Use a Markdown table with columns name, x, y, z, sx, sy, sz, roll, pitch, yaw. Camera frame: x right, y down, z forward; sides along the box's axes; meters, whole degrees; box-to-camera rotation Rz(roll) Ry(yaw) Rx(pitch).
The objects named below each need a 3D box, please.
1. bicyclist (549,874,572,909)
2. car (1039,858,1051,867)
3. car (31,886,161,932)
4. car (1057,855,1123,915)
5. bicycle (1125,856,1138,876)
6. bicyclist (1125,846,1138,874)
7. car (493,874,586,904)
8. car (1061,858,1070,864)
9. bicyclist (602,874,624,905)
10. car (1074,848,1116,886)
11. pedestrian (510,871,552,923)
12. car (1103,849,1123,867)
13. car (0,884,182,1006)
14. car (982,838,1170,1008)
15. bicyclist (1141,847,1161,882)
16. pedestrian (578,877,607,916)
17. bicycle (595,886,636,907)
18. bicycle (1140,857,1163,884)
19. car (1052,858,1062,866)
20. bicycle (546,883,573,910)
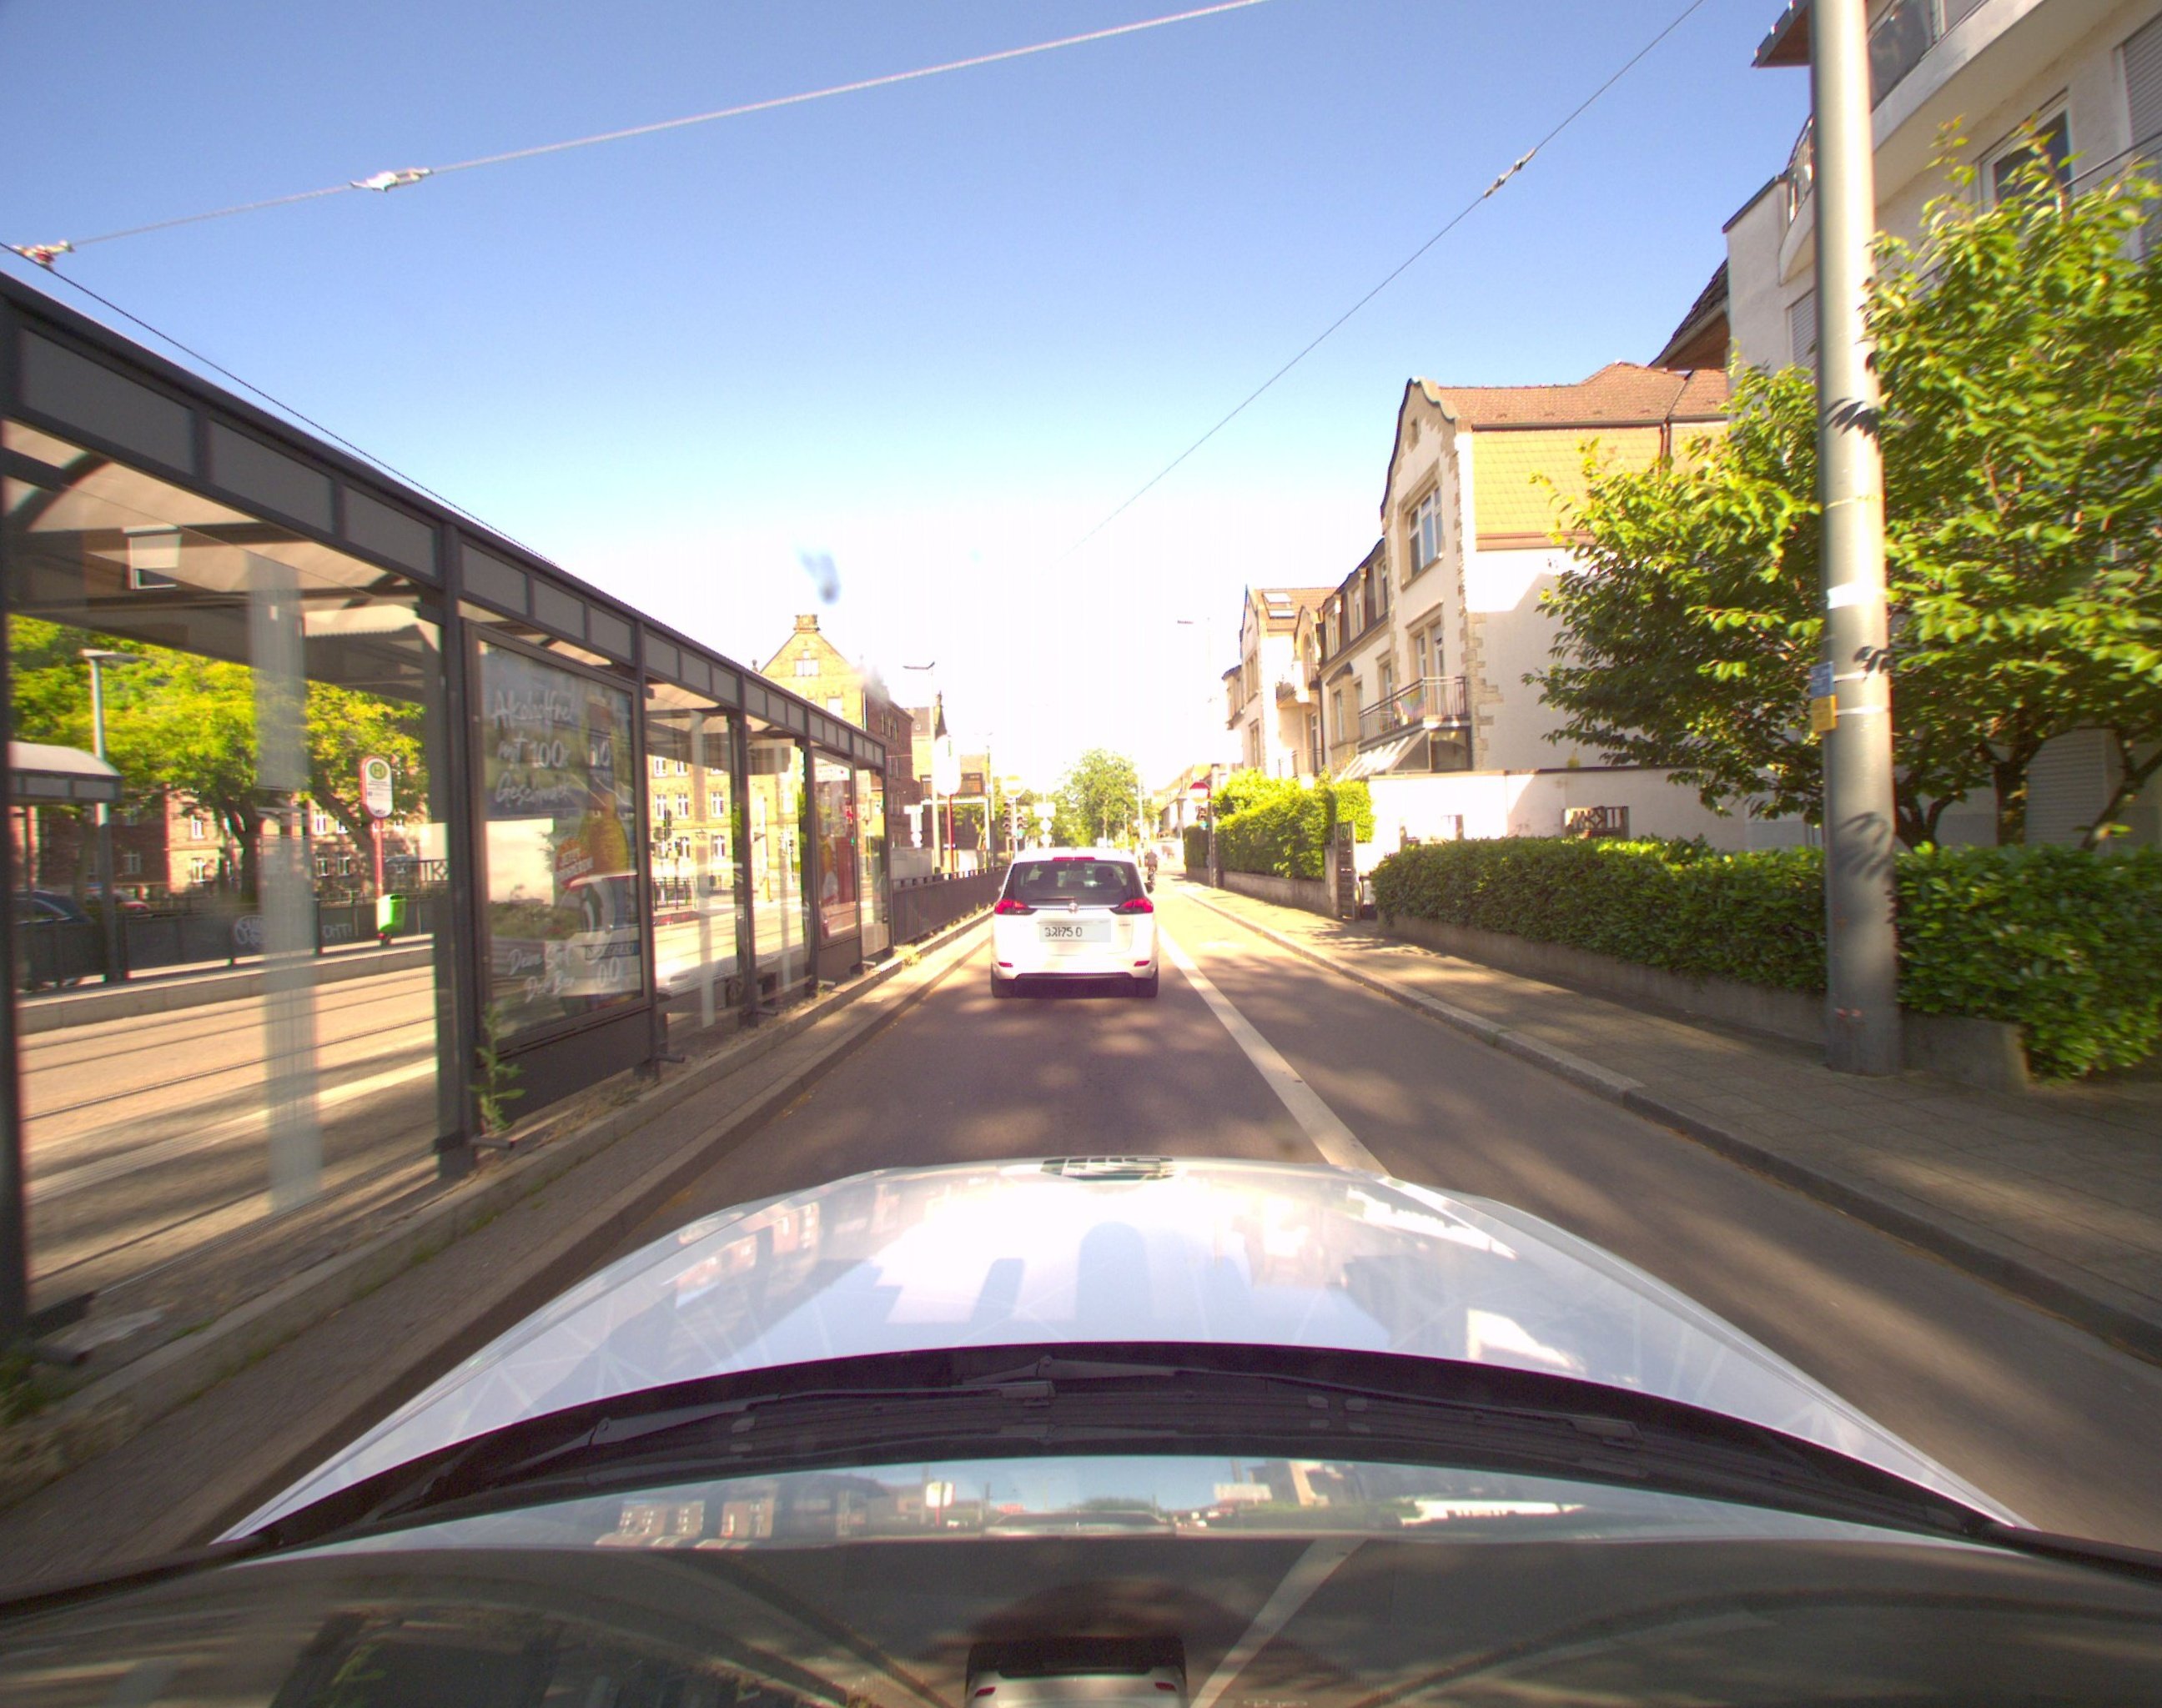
| name | x | y | z | sx | sy | sz | roll | pitch | yaw |
| --- | --- | --- | --- | --- | --- | --- | --- | --- | --- |
| bicyclist | -21.219 | 1.508 | 33.182 | 0.692 | 1.383 | 0.530 | -1 | -1 | -25 |
| car | -5.779 | 1.320 | 131.106 | 1.574 | 1.441 | 3.587 | -2 | 0 | 3 |
| car | -59.482 | 3.296 | 49.269 | 5.013 | 2.453 | 2.260 | -2 | -1 | 0 |
| car | 0.324 | 0.790 | 22.520 | 1.580 | 1.420 | 3.903 | -3 | 0 | 3 |
| bicycle | 3.012 | 0.715 | 48.414 | 0.682 | 1.157 | 1.621 | -2 | 0 | 4 |
| bicyclist | 3.002 | 0.332 | 48.484 | 0.682 | 1.634 | 1.016 | -2 | -1 | 3 |
| car | -30.953 | 1.970 | 46.628 | 4.047 | 1.522 | 1.879 | -2 | 0 | 3 |
| car | -3.504 | 1.573 | 181.660 | 1.574 | 1.441 | 3.587 | -2 | 0 | 3 |
| bicyclist | -25.119 | 1.905 | 43.704 | 0.632 | 1.636 | 0.801 | -2 | -1 | 1 |
| car | 0.646 | 0.582 | 37.429 | 1.769 | 1.632 | 3.881 | -2 | 0 | 1 |
| pedestrian | -20.408 | 1.579 | 30.228 | 0.723 | 1.861 | 1.097 | -2 | -1 | 3 |
| car | 3.180 | 0.420 | 79.747 | 1.768 | 1.632 | 3.884 | -2 | 0 | 4 |
| car | -16.629 | 1.393 | 11.927 | 1.898 | 1.677 | 4.361 | -2 | 0 | 3 |
| car | 0.012 | 0.697 | 10.066 | 1.828 | 1.642 | 3.920 | -2 | 0 | 2 |
| bicyclist | 3.127 | 0.461 | 36.494 | 0.818 | 1.501 | 0.934 | -2 | -1 | 0 |
| pedestrian | -20.503 | 1.771 | 34.214 | 0.568 | 1.569 | 0.836 | -1 | 0 | 21 |
| bicycle | -24.976 | 2.263 | 43.702 | 1.728 | 1.013 | 0.801 | -2 | -1 | 1 |
| bicycle | 3.147 | 0.732 | 36.491 | 0.826 | 1.154 | 2.095 | -2 | 0 | 1 |
| car | -4.517 | 1.430 | 154.473 | 1.574 | 1.441 | 3.587 | -2 | 0 | 3 |
| bicycle | -21.196 | 1.710 | 33.135 | 0.694 | 1.049 | 1.656 | -1 | -1 | -25 |
